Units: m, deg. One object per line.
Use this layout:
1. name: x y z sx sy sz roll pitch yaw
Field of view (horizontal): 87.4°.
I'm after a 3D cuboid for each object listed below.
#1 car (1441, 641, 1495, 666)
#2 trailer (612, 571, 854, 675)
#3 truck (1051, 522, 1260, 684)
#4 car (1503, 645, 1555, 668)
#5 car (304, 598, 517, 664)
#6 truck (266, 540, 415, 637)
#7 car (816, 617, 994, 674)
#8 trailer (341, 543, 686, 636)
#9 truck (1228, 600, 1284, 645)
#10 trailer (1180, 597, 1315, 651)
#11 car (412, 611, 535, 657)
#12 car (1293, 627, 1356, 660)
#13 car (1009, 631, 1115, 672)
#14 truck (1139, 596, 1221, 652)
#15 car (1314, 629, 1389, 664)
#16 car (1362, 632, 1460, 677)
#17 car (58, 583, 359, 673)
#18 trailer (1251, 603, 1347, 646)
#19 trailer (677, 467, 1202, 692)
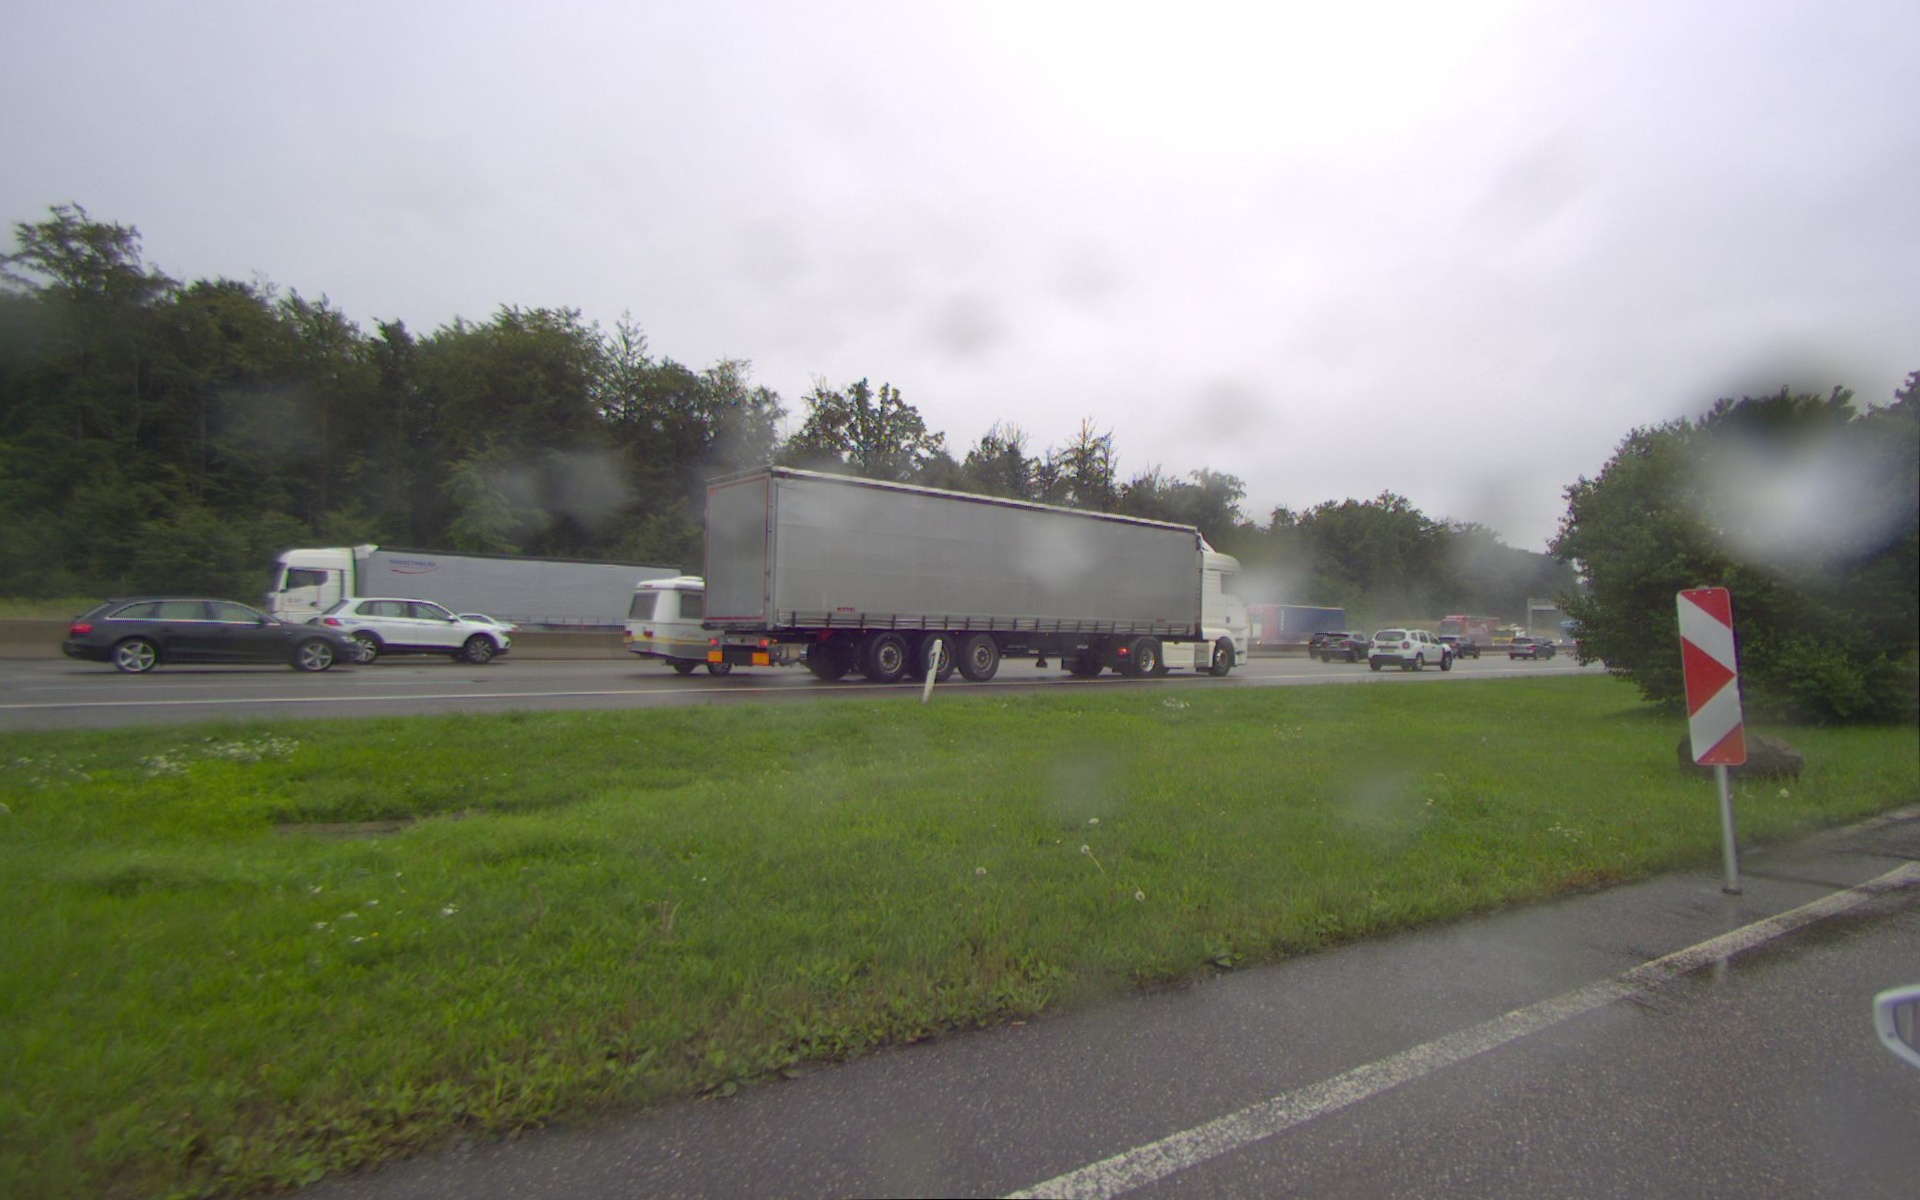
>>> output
1. car: 35.409 3.734 70.001 4.422 1.594 1.704 3 -3 -39
2. trailer: -5.211 0.598 23.563 5.140 2.184 2.110 3 -3 -41
3. truck: 5.636 0.217 28.494 5.891 4.105 2.847 3 -3 -42
4. car: 40.547 4.052 71.497 4.298 1.547 1.774 3 -2 -39
5. car: -14.030 0.810 25.786 4.491 1.560 1.977 2 -2 -40
6. truck: -24.850 -0.460 40.361 4.724 3.582 2.690 0 4 -41
7. car: -1.380 1.206 26.488 4.547 1.366 1.830 3 -3 -41
8. trailer: -19.455 -0.418 45.101 13.949 3.586 2.700 1 4 -41
9. truck: 25.848 1.986 87.673 5.131 3.556 2.170 3 1 -42
10. trailer: 22.725 1.824 78.512 14.560 3.730 2.591 1 3 -42
11. car: -16.050 1.129 33.211 3.375 1.350 1.396 3 1 -42
12. car: 21.434 2.565 59.085 3.969 1.773 1.693 2 2 -41
13. car: 4.212 2.109 40.980 4.490 1.595 1.690 3 -3 -41
14. truck: 15.880 1.684 72.389 5.946 3.719 2.598 1 3 -42
15. car: 20.268 2.407 51.941 4.428 1.685 1.908 3 -3 -43
16. car: 17.292 2.085 38.436 4.289 1.607 1.771 3 -3 -41
17. car: -14.601 0.610 19.745 4.492 1.560 1.977 4 -3 -40
18. trailer: 31.504 2.333 92.881 13.038 3.543 2.169 3 1 -42
19. trailer: 0.492 -0.030 23.814 14.016 4.034 2.869 3 -3 -42
